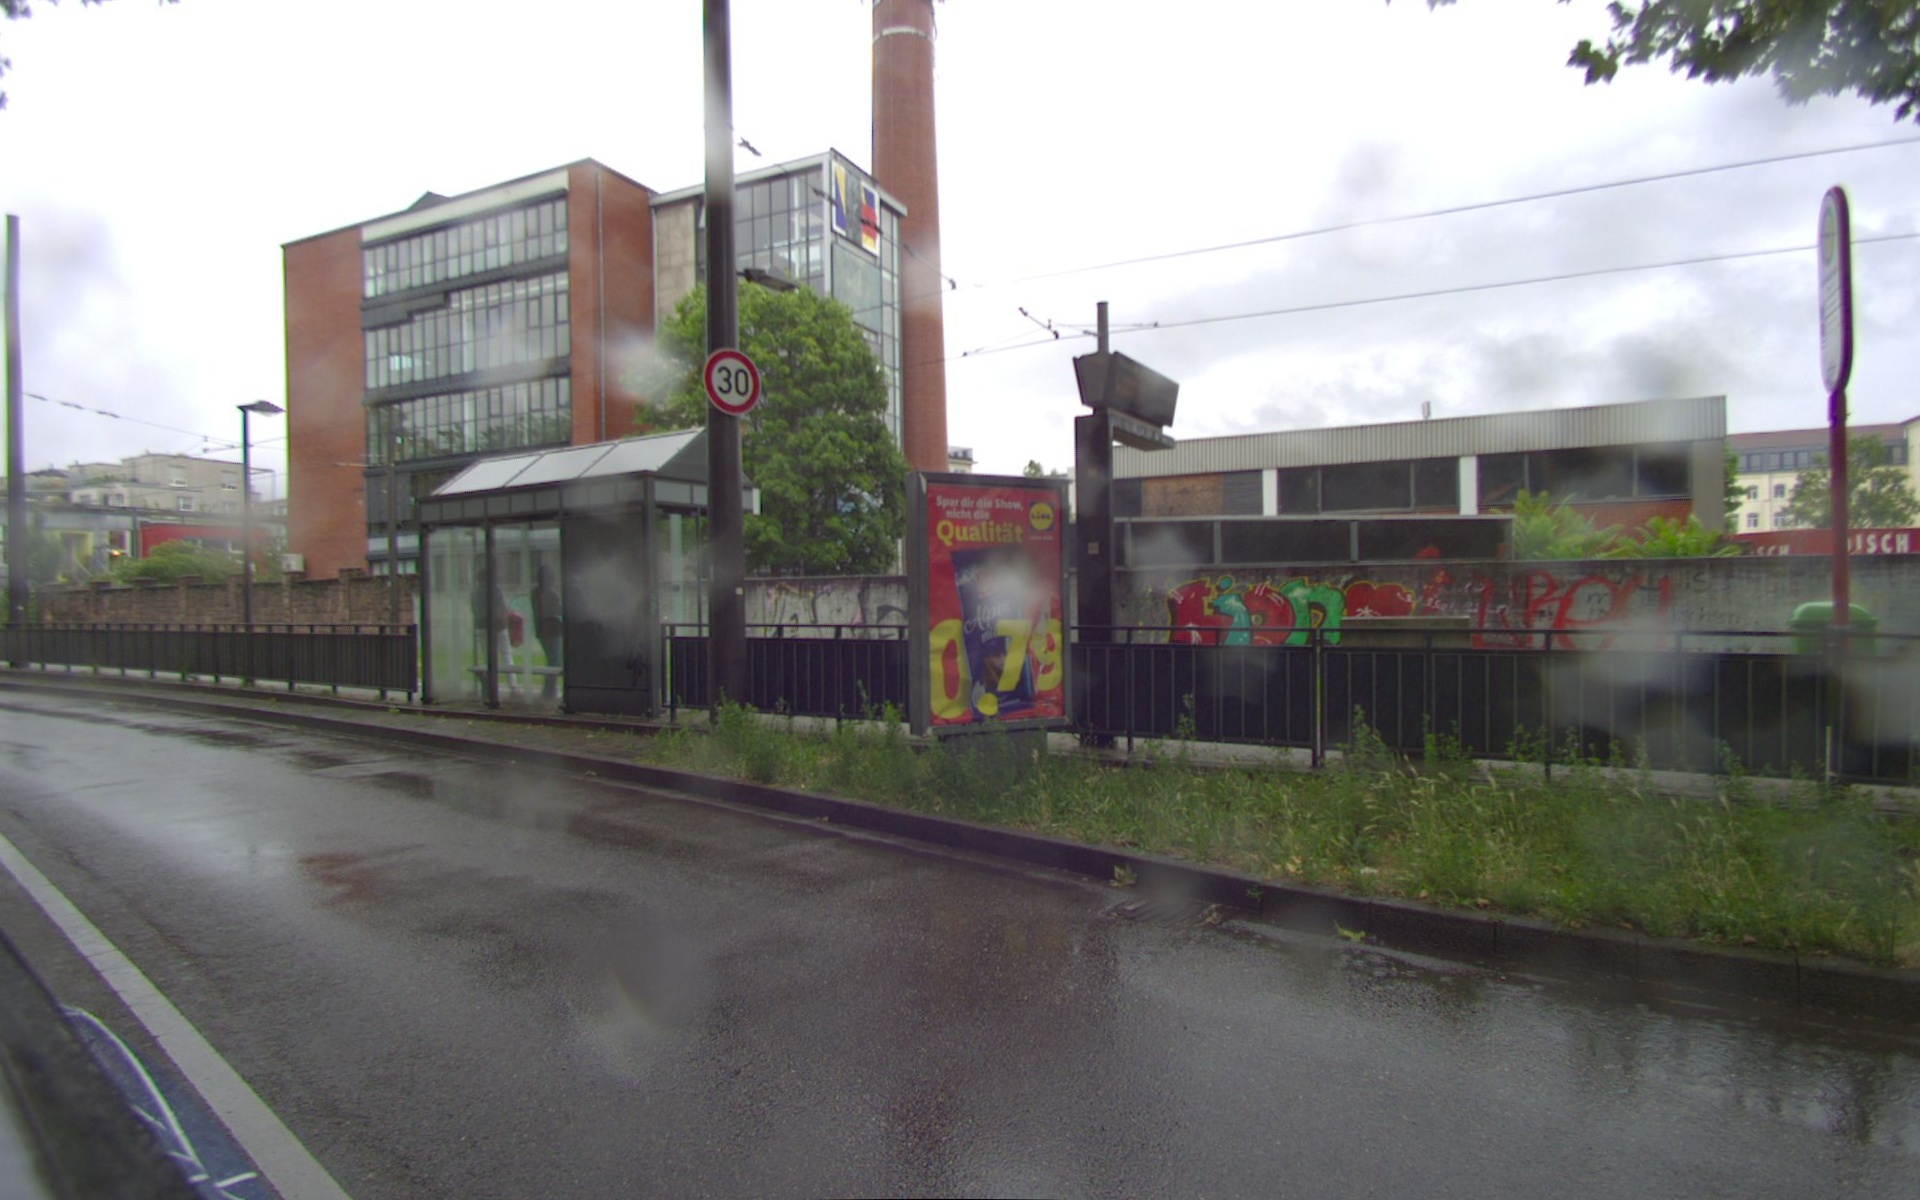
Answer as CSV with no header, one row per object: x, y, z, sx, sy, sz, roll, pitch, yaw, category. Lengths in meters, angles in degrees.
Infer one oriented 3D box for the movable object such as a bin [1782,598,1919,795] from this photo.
5.242,0.548,5.945,0.528,1.098,0.414,-1,-2,25,movable object such as a bin

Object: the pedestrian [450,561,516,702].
-6.062,0.400,12.878,0.560,1.744,0.583,0,-2,-1,pedestrian

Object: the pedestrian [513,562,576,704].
-5.217,0.410,12.739,0.560,1.744,0.583,0,-2,-3,pedestrian
